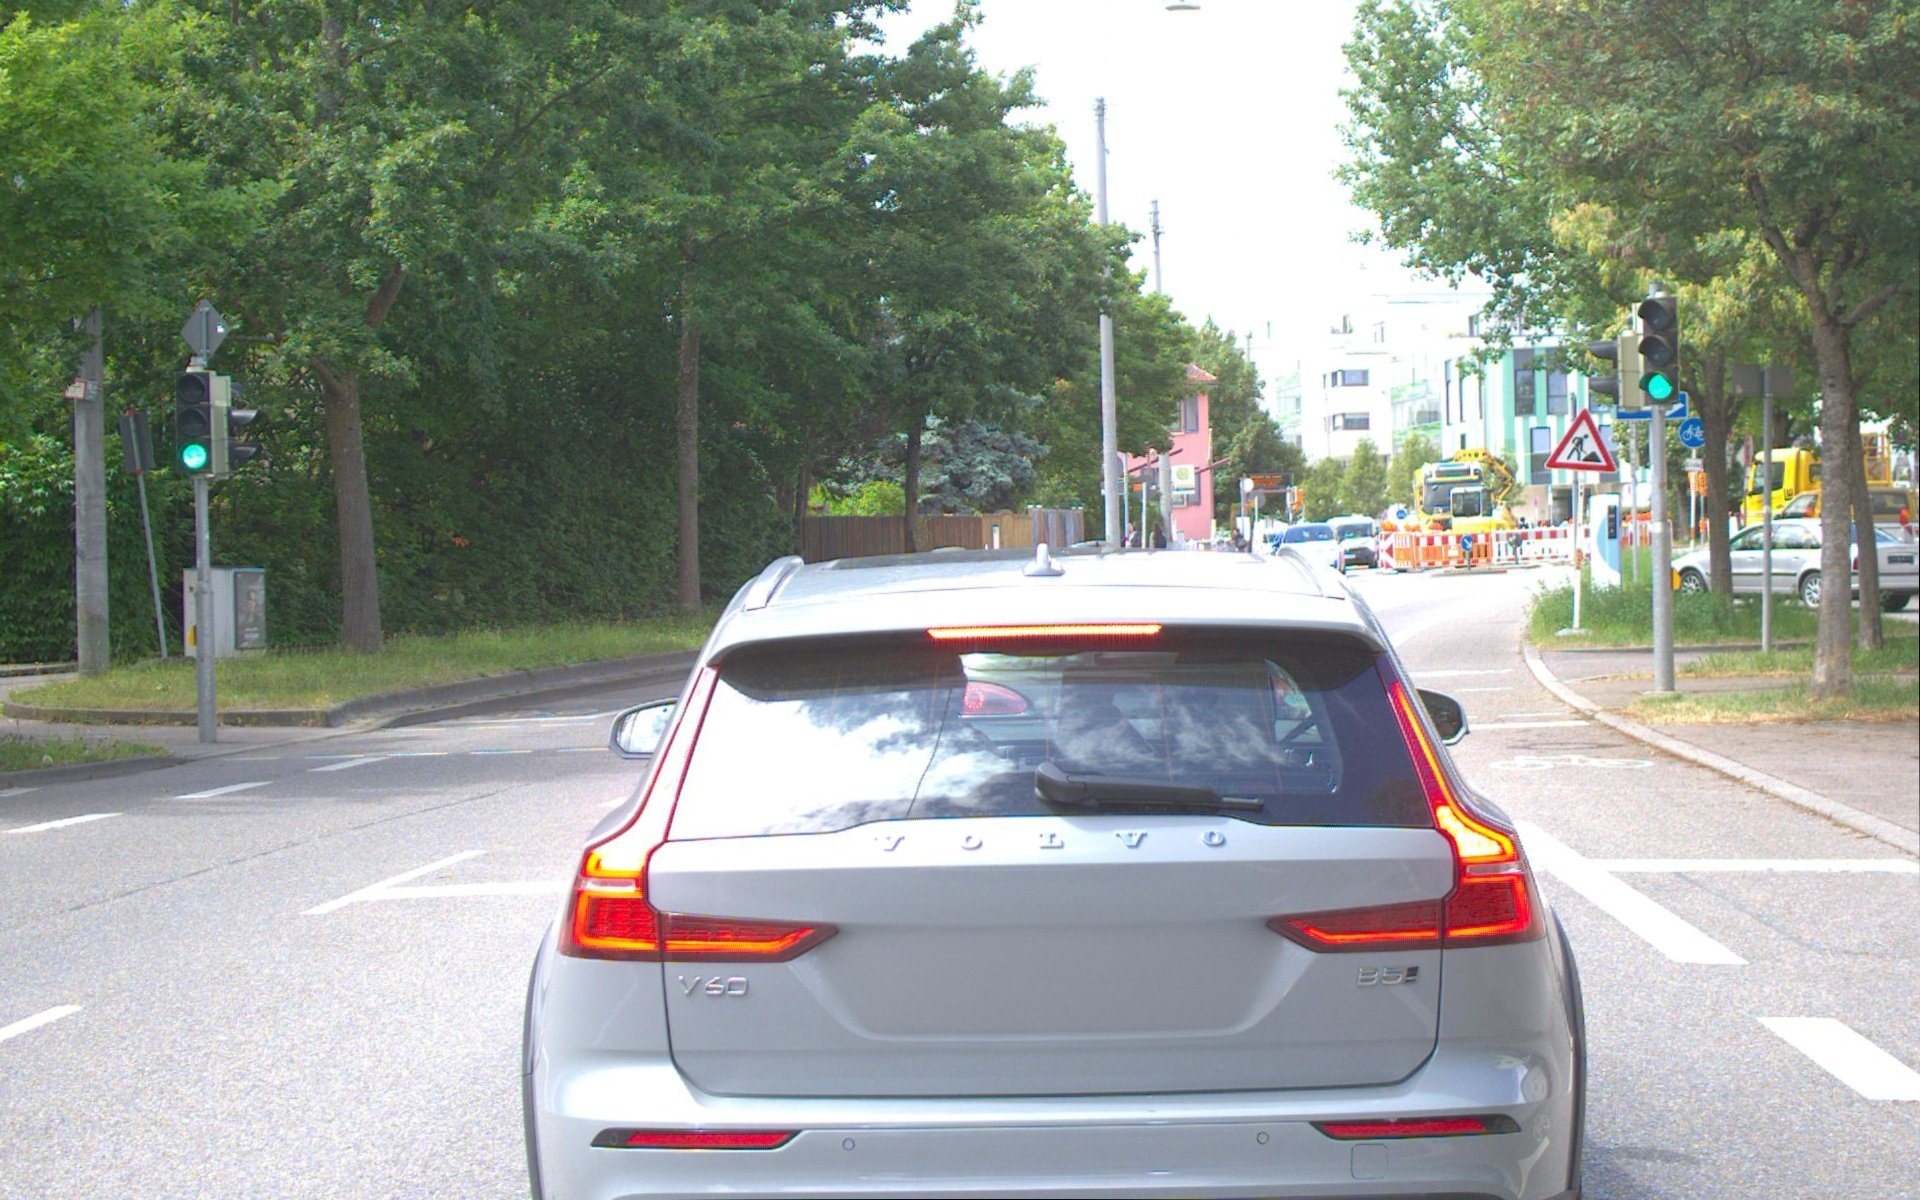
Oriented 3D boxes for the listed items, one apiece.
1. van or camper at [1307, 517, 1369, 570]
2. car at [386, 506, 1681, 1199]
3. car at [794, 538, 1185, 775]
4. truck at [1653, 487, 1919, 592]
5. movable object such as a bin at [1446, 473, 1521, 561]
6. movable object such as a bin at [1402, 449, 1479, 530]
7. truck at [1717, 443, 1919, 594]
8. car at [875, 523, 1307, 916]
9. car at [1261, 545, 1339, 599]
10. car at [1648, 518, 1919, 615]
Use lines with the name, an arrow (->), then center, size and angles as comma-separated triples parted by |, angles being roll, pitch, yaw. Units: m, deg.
van or camper -> 13.200, -1.975, 119.792 | 1.861, 1.770, 4.379 | -1, 1, 10
car -> 0.187, 0.613, 7.180 | 1.928, 1.535, 4.000 | -1, 1, 2
car -> 0.311, 0.358, 24.428 | 2.103, 1.505, 3.998 | 1, 0, 10
truck -> 16.748, -1.209, 68.961 | 1.994, 2.007, 5.676 | 1, 0, -37
movable object such as a bin -> 16.636, -2.644, 109.131 | 2.035, 2.634, 5.937 | -2, 1, 11
movable object such as a bin -> 18.486, -4.218, 132.427 | 2.310, 2.980, 6.426 | -2, 1, 3
truck -> 19.032, -1.633, 70.552 | 2.761, 2.998, 6.706 | 1, 0, -34
car -> 0.587, 0.458, 15.389 | 1.661, 1.503, 3.702 | 1, 0, 2
car -> 9.211, -0.744, 92.838 | 1.829, 1.325, 3.998 | 1, -1, 9
car -> 13.142, -0.548, 54.209 | 1.762, 1.447, 4.689 | -1, 2, -32
